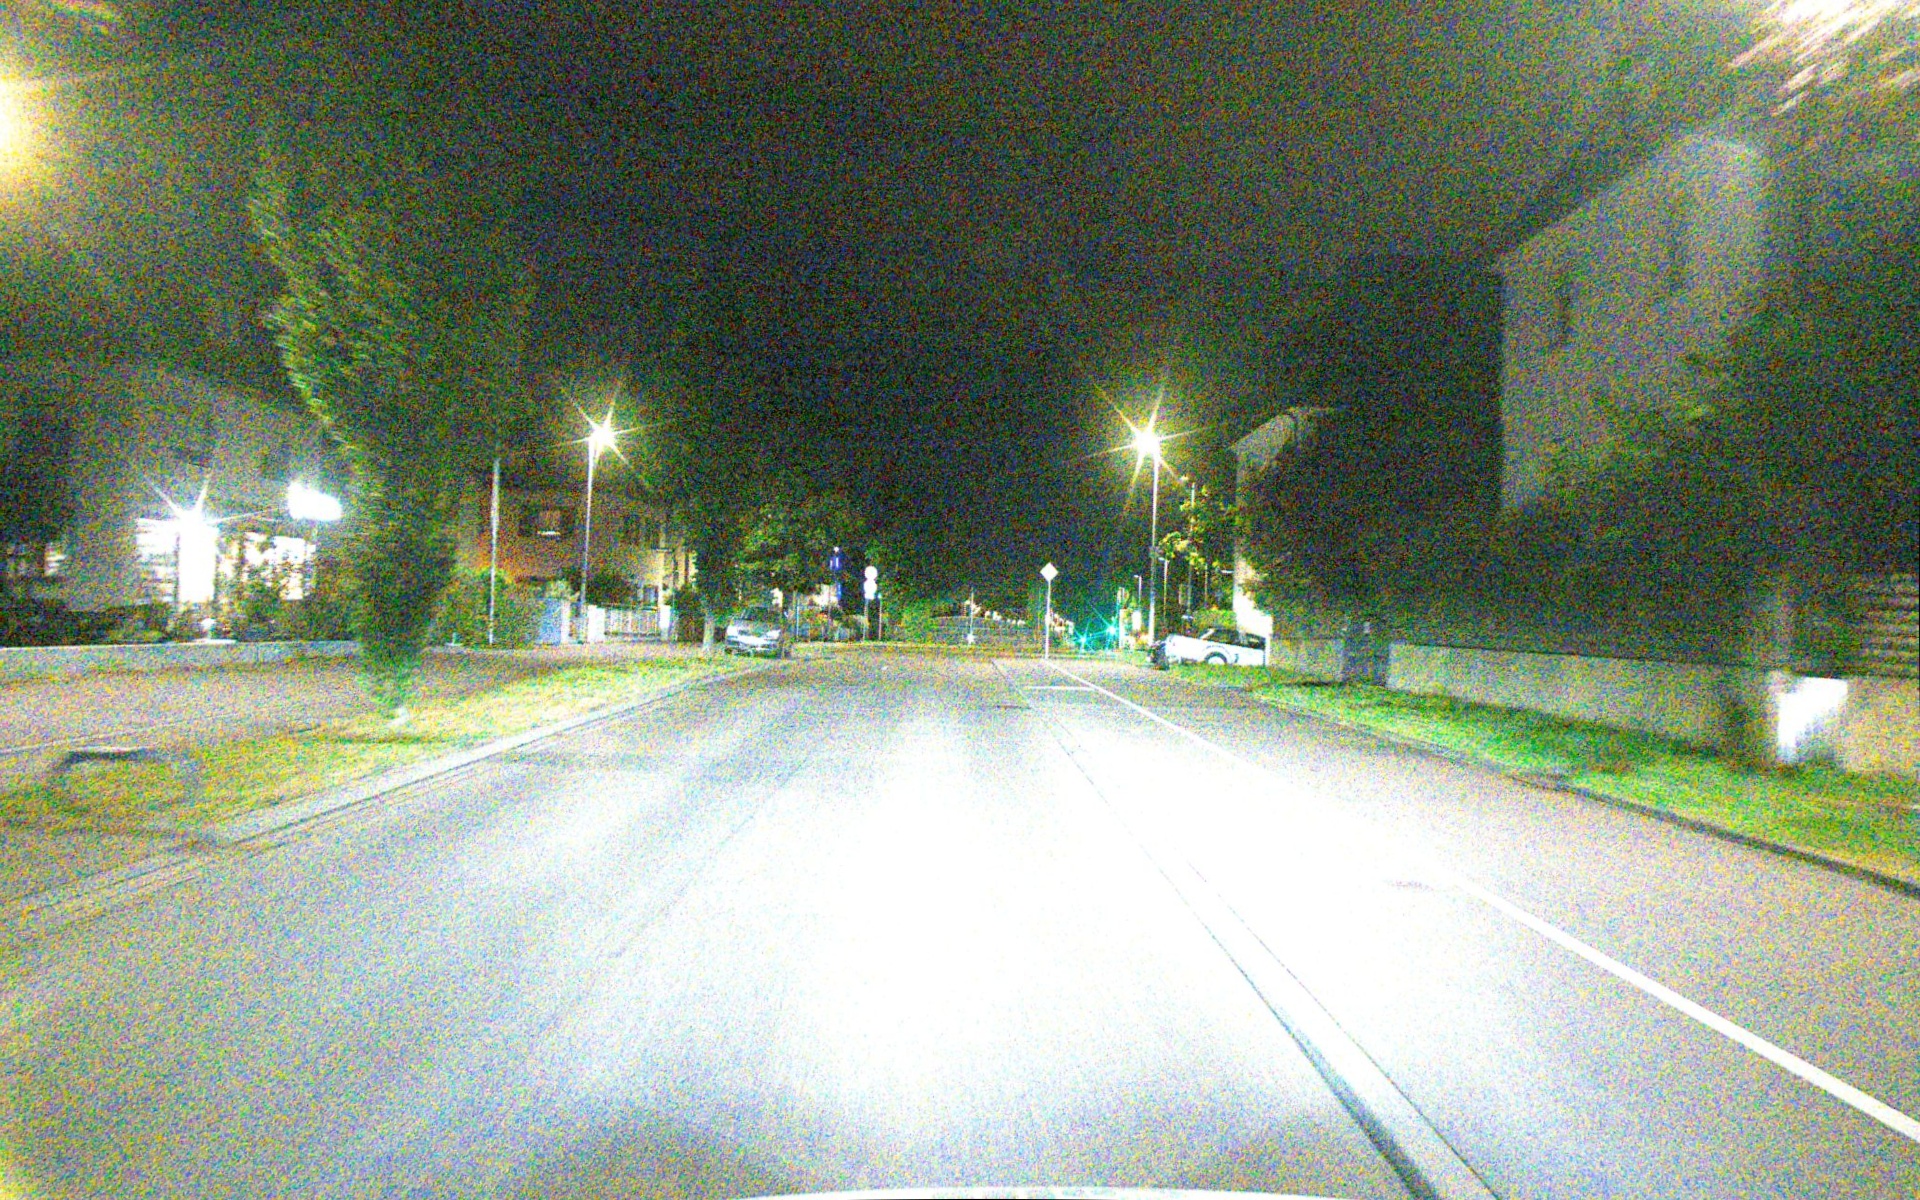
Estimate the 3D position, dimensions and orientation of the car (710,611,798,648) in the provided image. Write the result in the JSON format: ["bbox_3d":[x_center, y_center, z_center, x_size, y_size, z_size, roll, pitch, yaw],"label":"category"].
[{"bbox_3d":[-9.660,1.374,77.587,3.635,1.656,1.783,1,-1,18],"label":"car"}]

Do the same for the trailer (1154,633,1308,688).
[{"bbox_3d":[6.566,1.468,40.374,3.363,1.019,1.954,5,-1,-1],"label":"trailer"}]

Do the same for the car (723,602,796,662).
[{"bbox_3d":[-5.755,0.901,47.808,1.638,1.618,3.986,2,-1,-1],"label":"car"}]

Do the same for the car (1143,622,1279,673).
[{"bbox_3d":[6.663,1.250,44.187,3.323,1.253,1.724,1,0,-2],"label":"car"}]
